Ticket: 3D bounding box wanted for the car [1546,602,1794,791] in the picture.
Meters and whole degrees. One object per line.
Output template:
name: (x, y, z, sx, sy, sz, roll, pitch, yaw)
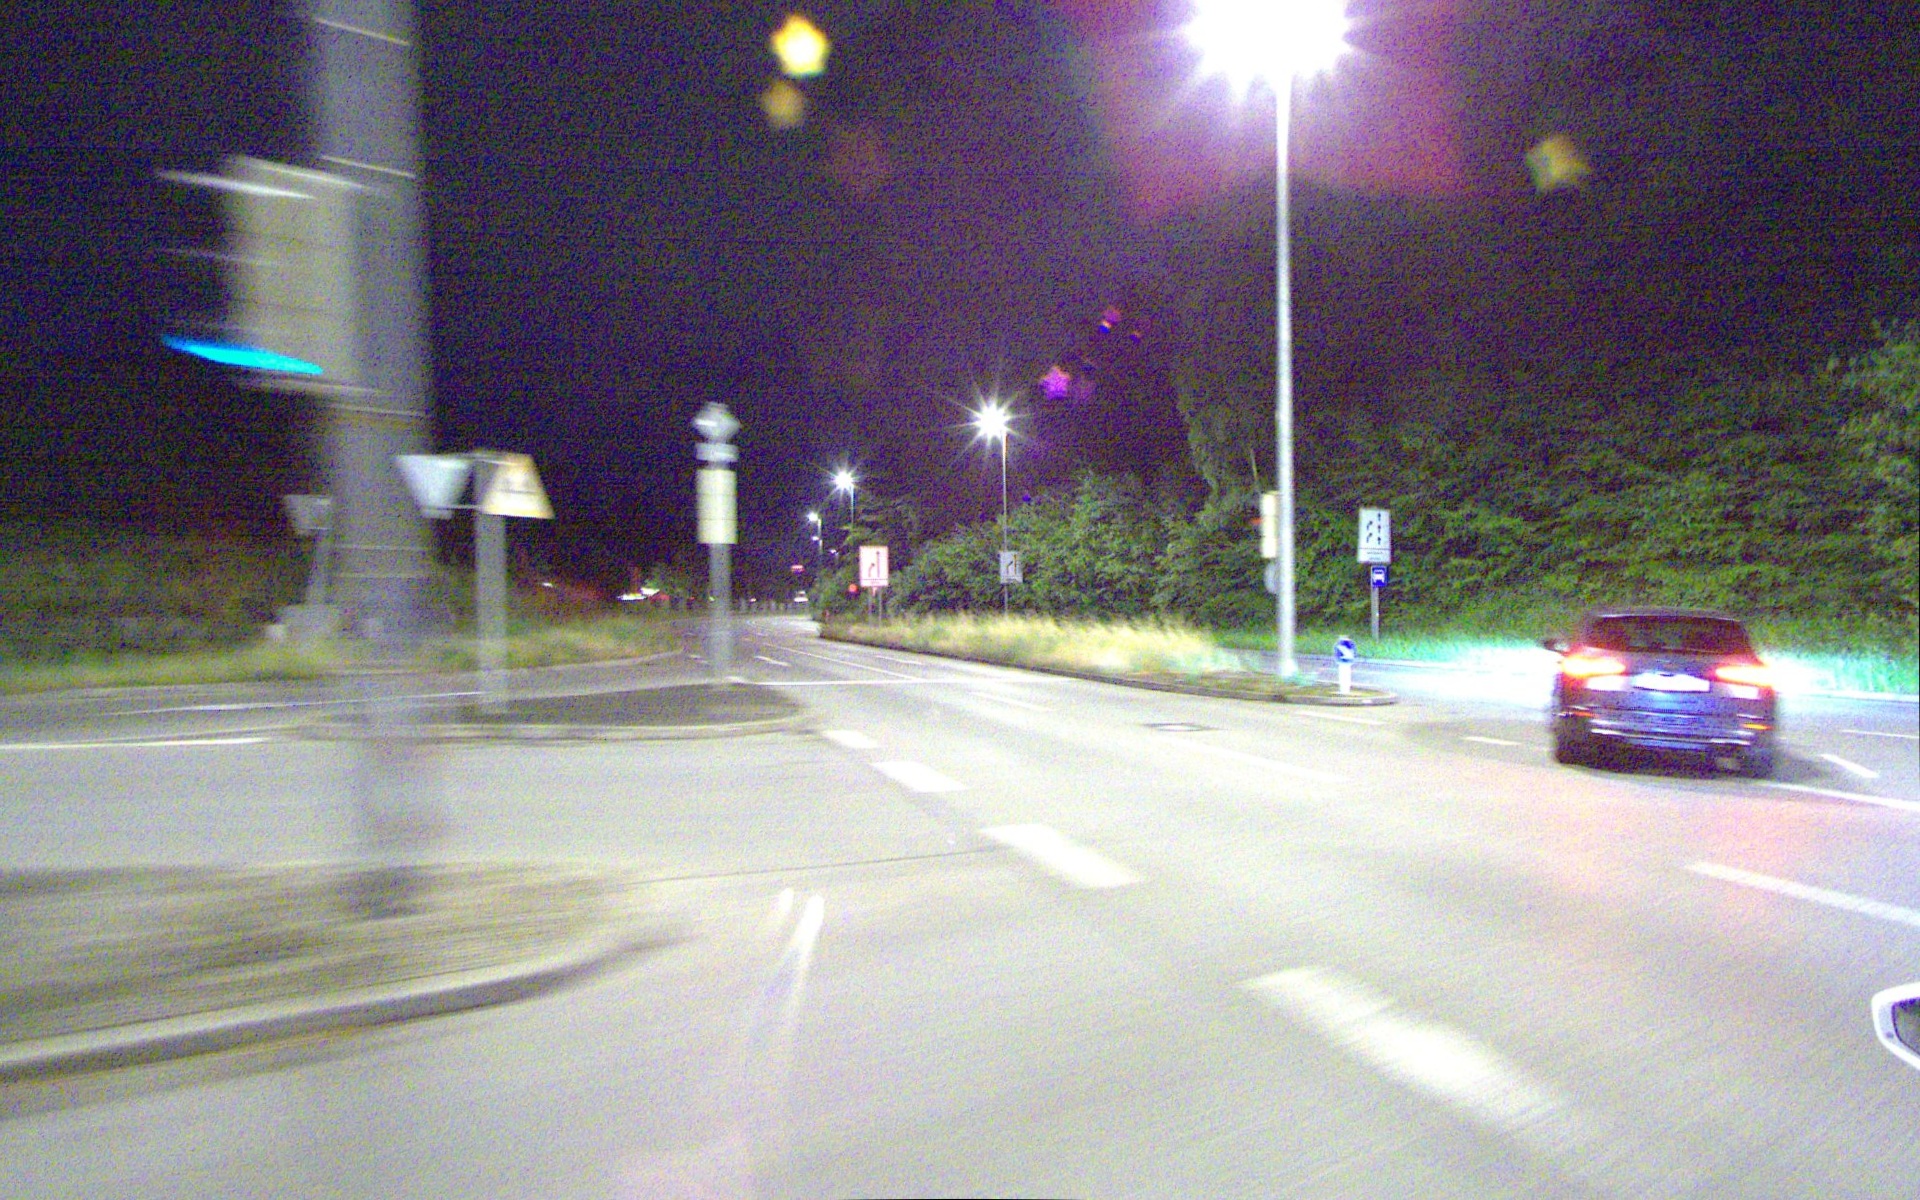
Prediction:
car: (7.380, 0.838, 10.753, 1.825, 1.603, 3.997, 0, 0, 32)
